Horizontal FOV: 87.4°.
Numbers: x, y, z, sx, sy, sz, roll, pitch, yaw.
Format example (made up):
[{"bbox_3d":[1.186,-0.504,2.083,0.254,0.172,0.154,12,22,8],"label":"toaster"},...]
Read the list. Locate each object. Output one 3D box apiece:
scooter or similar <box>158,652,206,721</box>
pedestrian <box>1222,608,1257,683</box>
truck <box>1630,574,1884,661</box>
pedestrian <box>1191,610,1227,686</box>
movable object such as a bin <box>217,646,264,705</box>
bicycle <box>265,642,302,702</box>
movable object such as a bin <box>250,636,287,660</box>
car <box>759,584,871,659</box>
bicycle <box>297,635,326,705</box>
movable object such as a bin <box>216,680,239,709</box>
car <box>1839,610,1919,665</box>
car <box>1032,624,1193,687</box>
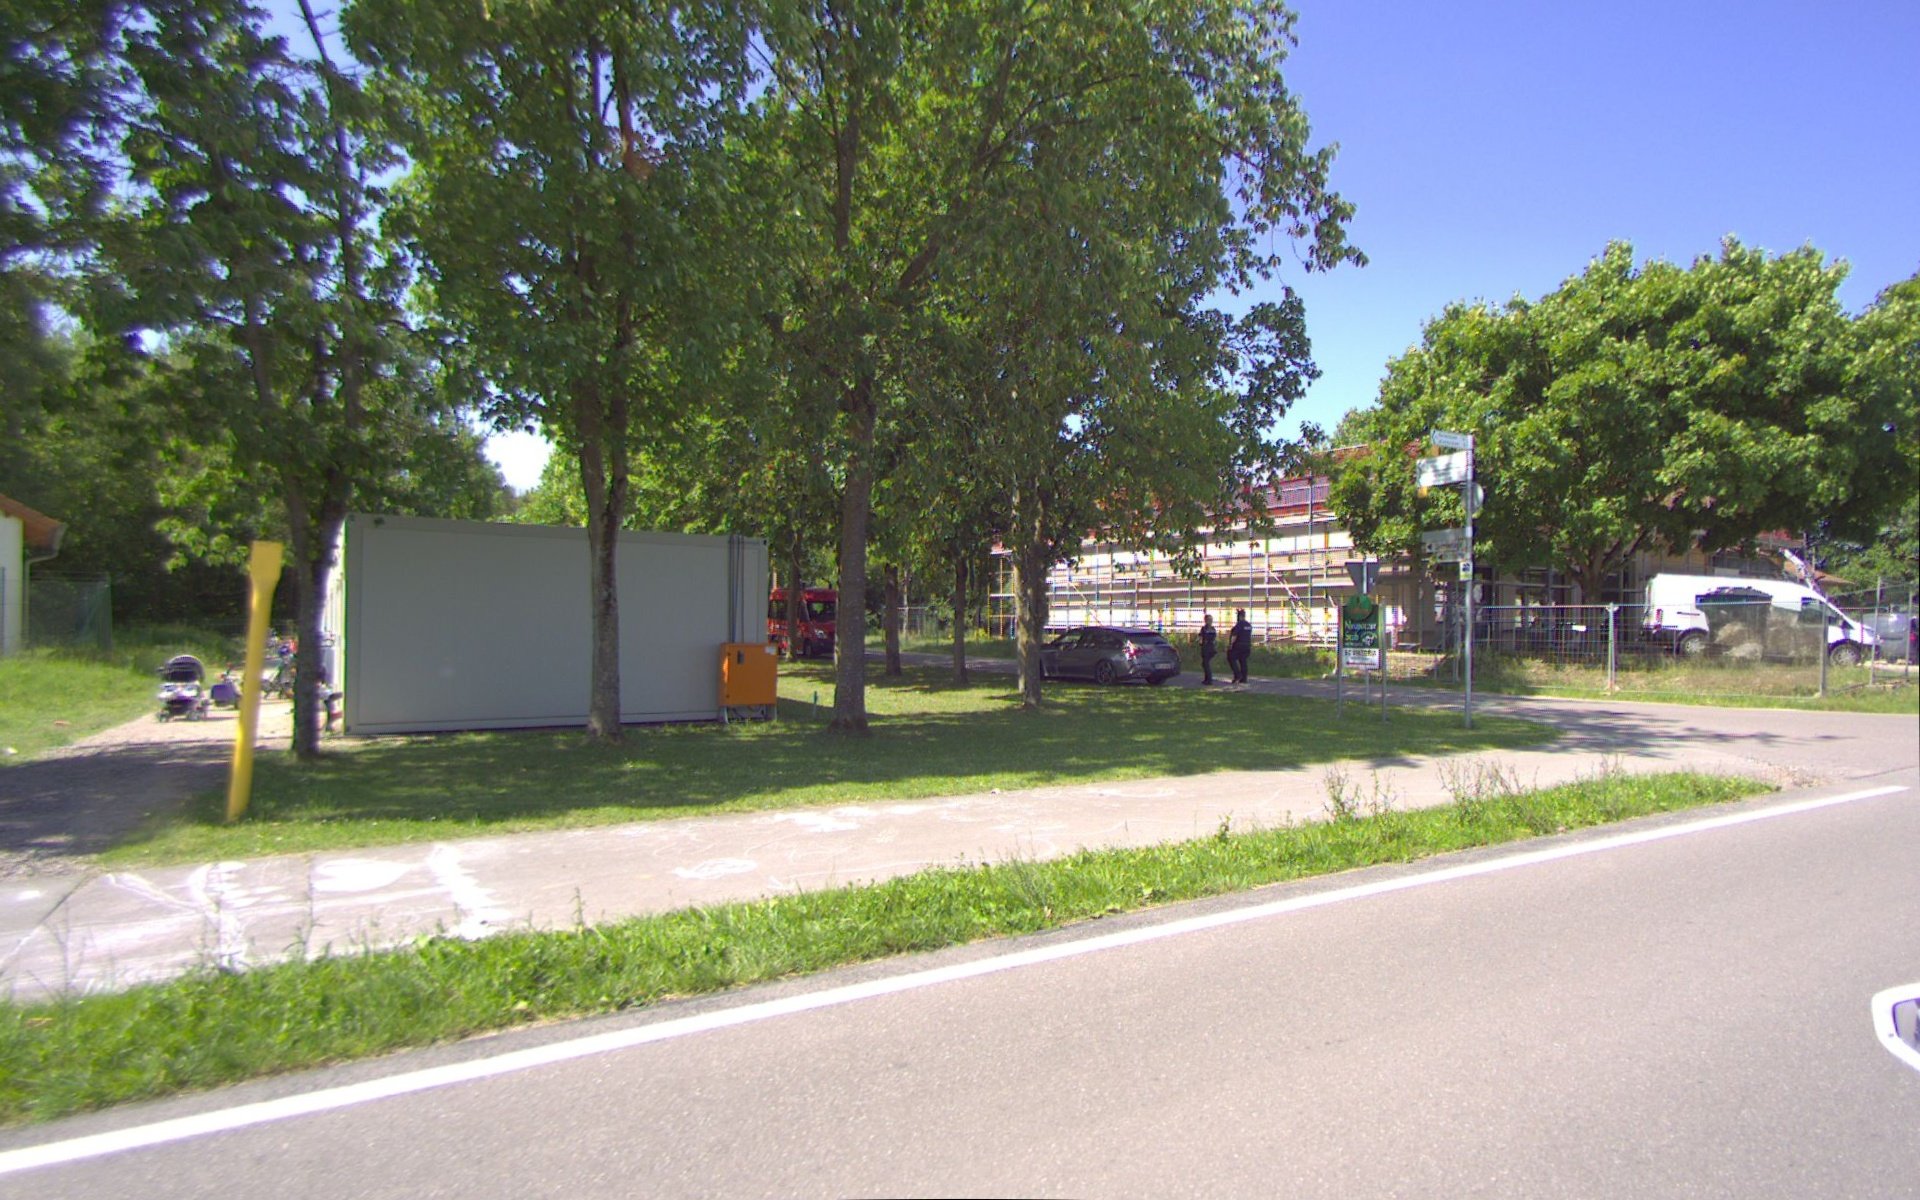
[{"bbox_3d":[-11.959,1.312,15.454,0.529,1.010,0.888,1,-2,-36],"label":"scooter or similar"},{"bbox_3d":[6.746,1.098,24.242,0.582,1.774,0.598,1,-2,-40],"label":"pedestrian"},{"bbox_3d":[24.472,0.511,31.179,5.818,2.516,1.999,1,-1,23],"label":"truck"},{"bbox_3d":[5.928,1.134,23.929,0.582,1.774,0.598,1,-2,-40],"label":"pedestrian"},{"bbox_3d":[-13.093,1.358,18.294,0.657,1.027,0.690,1,-2,-34],"label":"movable object such as a bin"},{"bbox_3d":[-12.935,1.351,19.228,0.500,1.096,1.234,1,-2,-31],"label":"bicycle"},{"bbox_3d":[-27.429,1.903,39.879,1.154,0.898,1.543,1,-2,-33],"label":"movable object such as a bin"},{"bbox_3d":[-5.683,0.840,38.520,2.097,2.611,6.029,1,-2,-31],"label":"car"},{"bbox_3d":[-11.833,1.252,18.342,0.419,1.229,1.233,1,-2,-32],"label":"bicycle"},{"bbox_3d":[-12.649,1.629,17.358,0.294,0.468,0.664,1,-2,-34],"label":"movable object such as a bin"},{"bbox_3d":[34.166,1.350,36.661,4.279,1.862,1.960,1,-1,-31],"label":"car"},{"bbox_3d":[3.641,1.291,24.537,1.743,1.417,3.772,1,-2,-37],"label":"car"}]
